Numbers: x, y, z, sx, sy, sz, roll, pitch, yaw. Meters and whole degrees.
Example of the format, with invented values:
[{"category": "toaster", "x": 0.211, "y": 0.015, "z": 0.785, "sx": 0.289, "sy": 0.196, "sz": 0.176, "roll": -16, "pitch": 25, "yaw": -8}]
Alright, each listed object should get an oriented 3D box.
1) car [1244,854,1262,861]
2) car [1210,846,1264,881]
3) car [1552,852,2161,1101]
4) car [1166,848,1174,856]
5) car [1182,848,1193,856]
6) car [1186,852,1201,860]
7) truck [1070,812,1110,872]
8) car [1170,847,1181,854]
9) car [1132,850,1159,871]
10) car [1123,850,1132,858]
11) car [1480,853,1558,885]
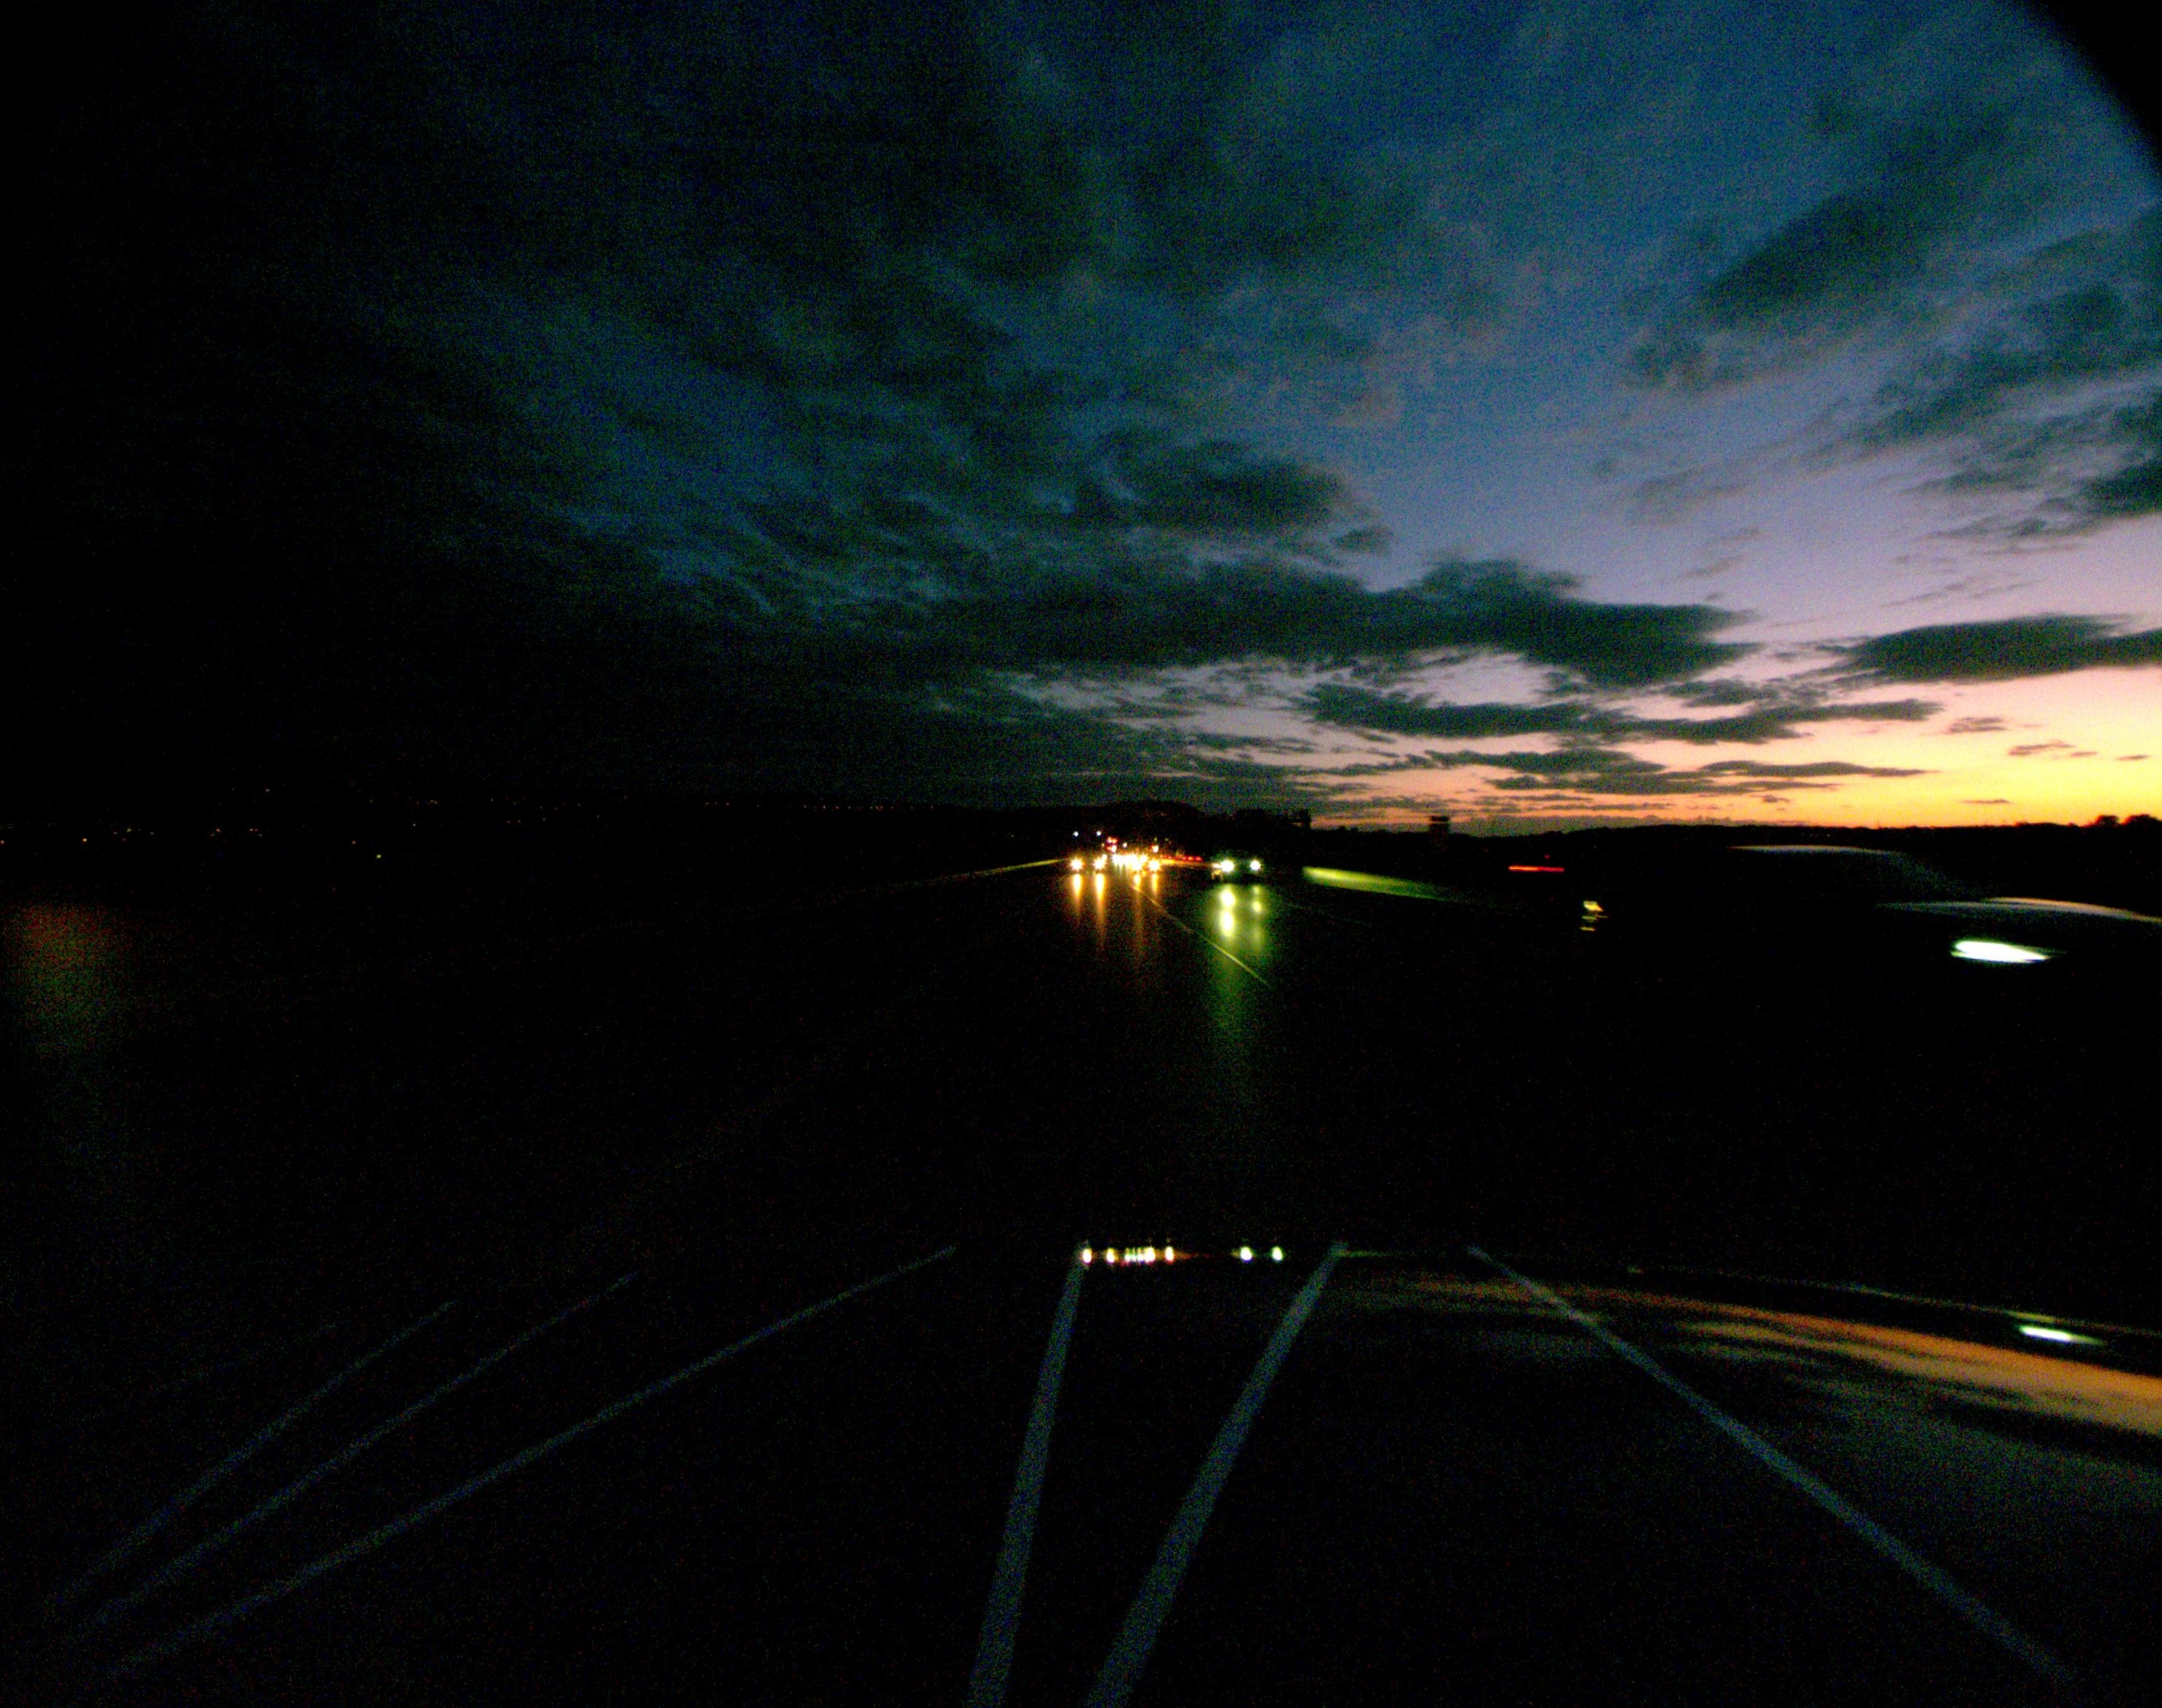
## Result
[{"category": "car", "x": 21.930, "y": 0.400, "z": 97.023, "sx": 1.245, "sy": 0.789, "sz": 4.415, "roll": -2, "pitch": 1, "yaw": 1}, {"category": "car", "x": 8.009, "y": 0.457, "z": 39.506, "sx": 1.819, "sy": 1.638, "sz": 4.856, "roll": -2, "pitch": 1, "yaw": 1}, {"category": "car", "x": 7.152, "y": 0.757, "z": 7.400, "sx": 1.819, "sy": 1.429, "sz": 5.394, "roll": -2, "pitch": 1, "yaw": 1}, {"category": "car", "x": 27.933, "y": -0.609, "z": 238.652, "sx": 1.998, "sy": 2.374, "sz": 5.835, "roll": -2, "pitch": 1, "yaw": 1}, {"category": "car", "x": 22.056, "y": -0.494, "z": 157.232, "sx": 1.663, "sy": 1.514, "sz": 4.887, "roll": -2, "pitch": 1, "yaw": 1}, {"category": "car", "x": 17.629, "y": 0.297, "z": 119.087, "sx": 1.670, "sy": 1.211, "sz": 3.999, "roll": -2, "pitch": 1, "yaw": 1}, {"category": "truck", "x": 0.829, "y": -0.931, "z": 65.892, "sx": 3.012, "sy": 4.570, "sz": 12.578, "roll": -2, "pitch": 0, "yaw": 1}, {"category": "car", "x": 18.363, "y": -0.689, "z": 148.458, "sx": 1.649, "sy": 1.445, "sz": 3.999, "roll": -2, "pitch": 1, "yaw": 1}, {"category": "car", "x": 5.001, "y": 0.482, "z": 59.646, "sx": 1.802, "sy": 1.531, "sz": 4.159, "roll": -2, "pitch": 1, "yaw": 1}, {"category": "car", "x": 10.725, "y": -0.054, "z": 176.294, "sx": 1.862, "sy": 1.826, "sz": 4.000, "roll": -2, "pitch": 1, "yaw": 1}, {"category": "car", "x": 23.758, "y": 0.782, "z": 41.419, "sx": 1.662, "sy": 1.526, "sz": 4.520, "roll": -2, "pitch": 1, "yaw": 1}]
